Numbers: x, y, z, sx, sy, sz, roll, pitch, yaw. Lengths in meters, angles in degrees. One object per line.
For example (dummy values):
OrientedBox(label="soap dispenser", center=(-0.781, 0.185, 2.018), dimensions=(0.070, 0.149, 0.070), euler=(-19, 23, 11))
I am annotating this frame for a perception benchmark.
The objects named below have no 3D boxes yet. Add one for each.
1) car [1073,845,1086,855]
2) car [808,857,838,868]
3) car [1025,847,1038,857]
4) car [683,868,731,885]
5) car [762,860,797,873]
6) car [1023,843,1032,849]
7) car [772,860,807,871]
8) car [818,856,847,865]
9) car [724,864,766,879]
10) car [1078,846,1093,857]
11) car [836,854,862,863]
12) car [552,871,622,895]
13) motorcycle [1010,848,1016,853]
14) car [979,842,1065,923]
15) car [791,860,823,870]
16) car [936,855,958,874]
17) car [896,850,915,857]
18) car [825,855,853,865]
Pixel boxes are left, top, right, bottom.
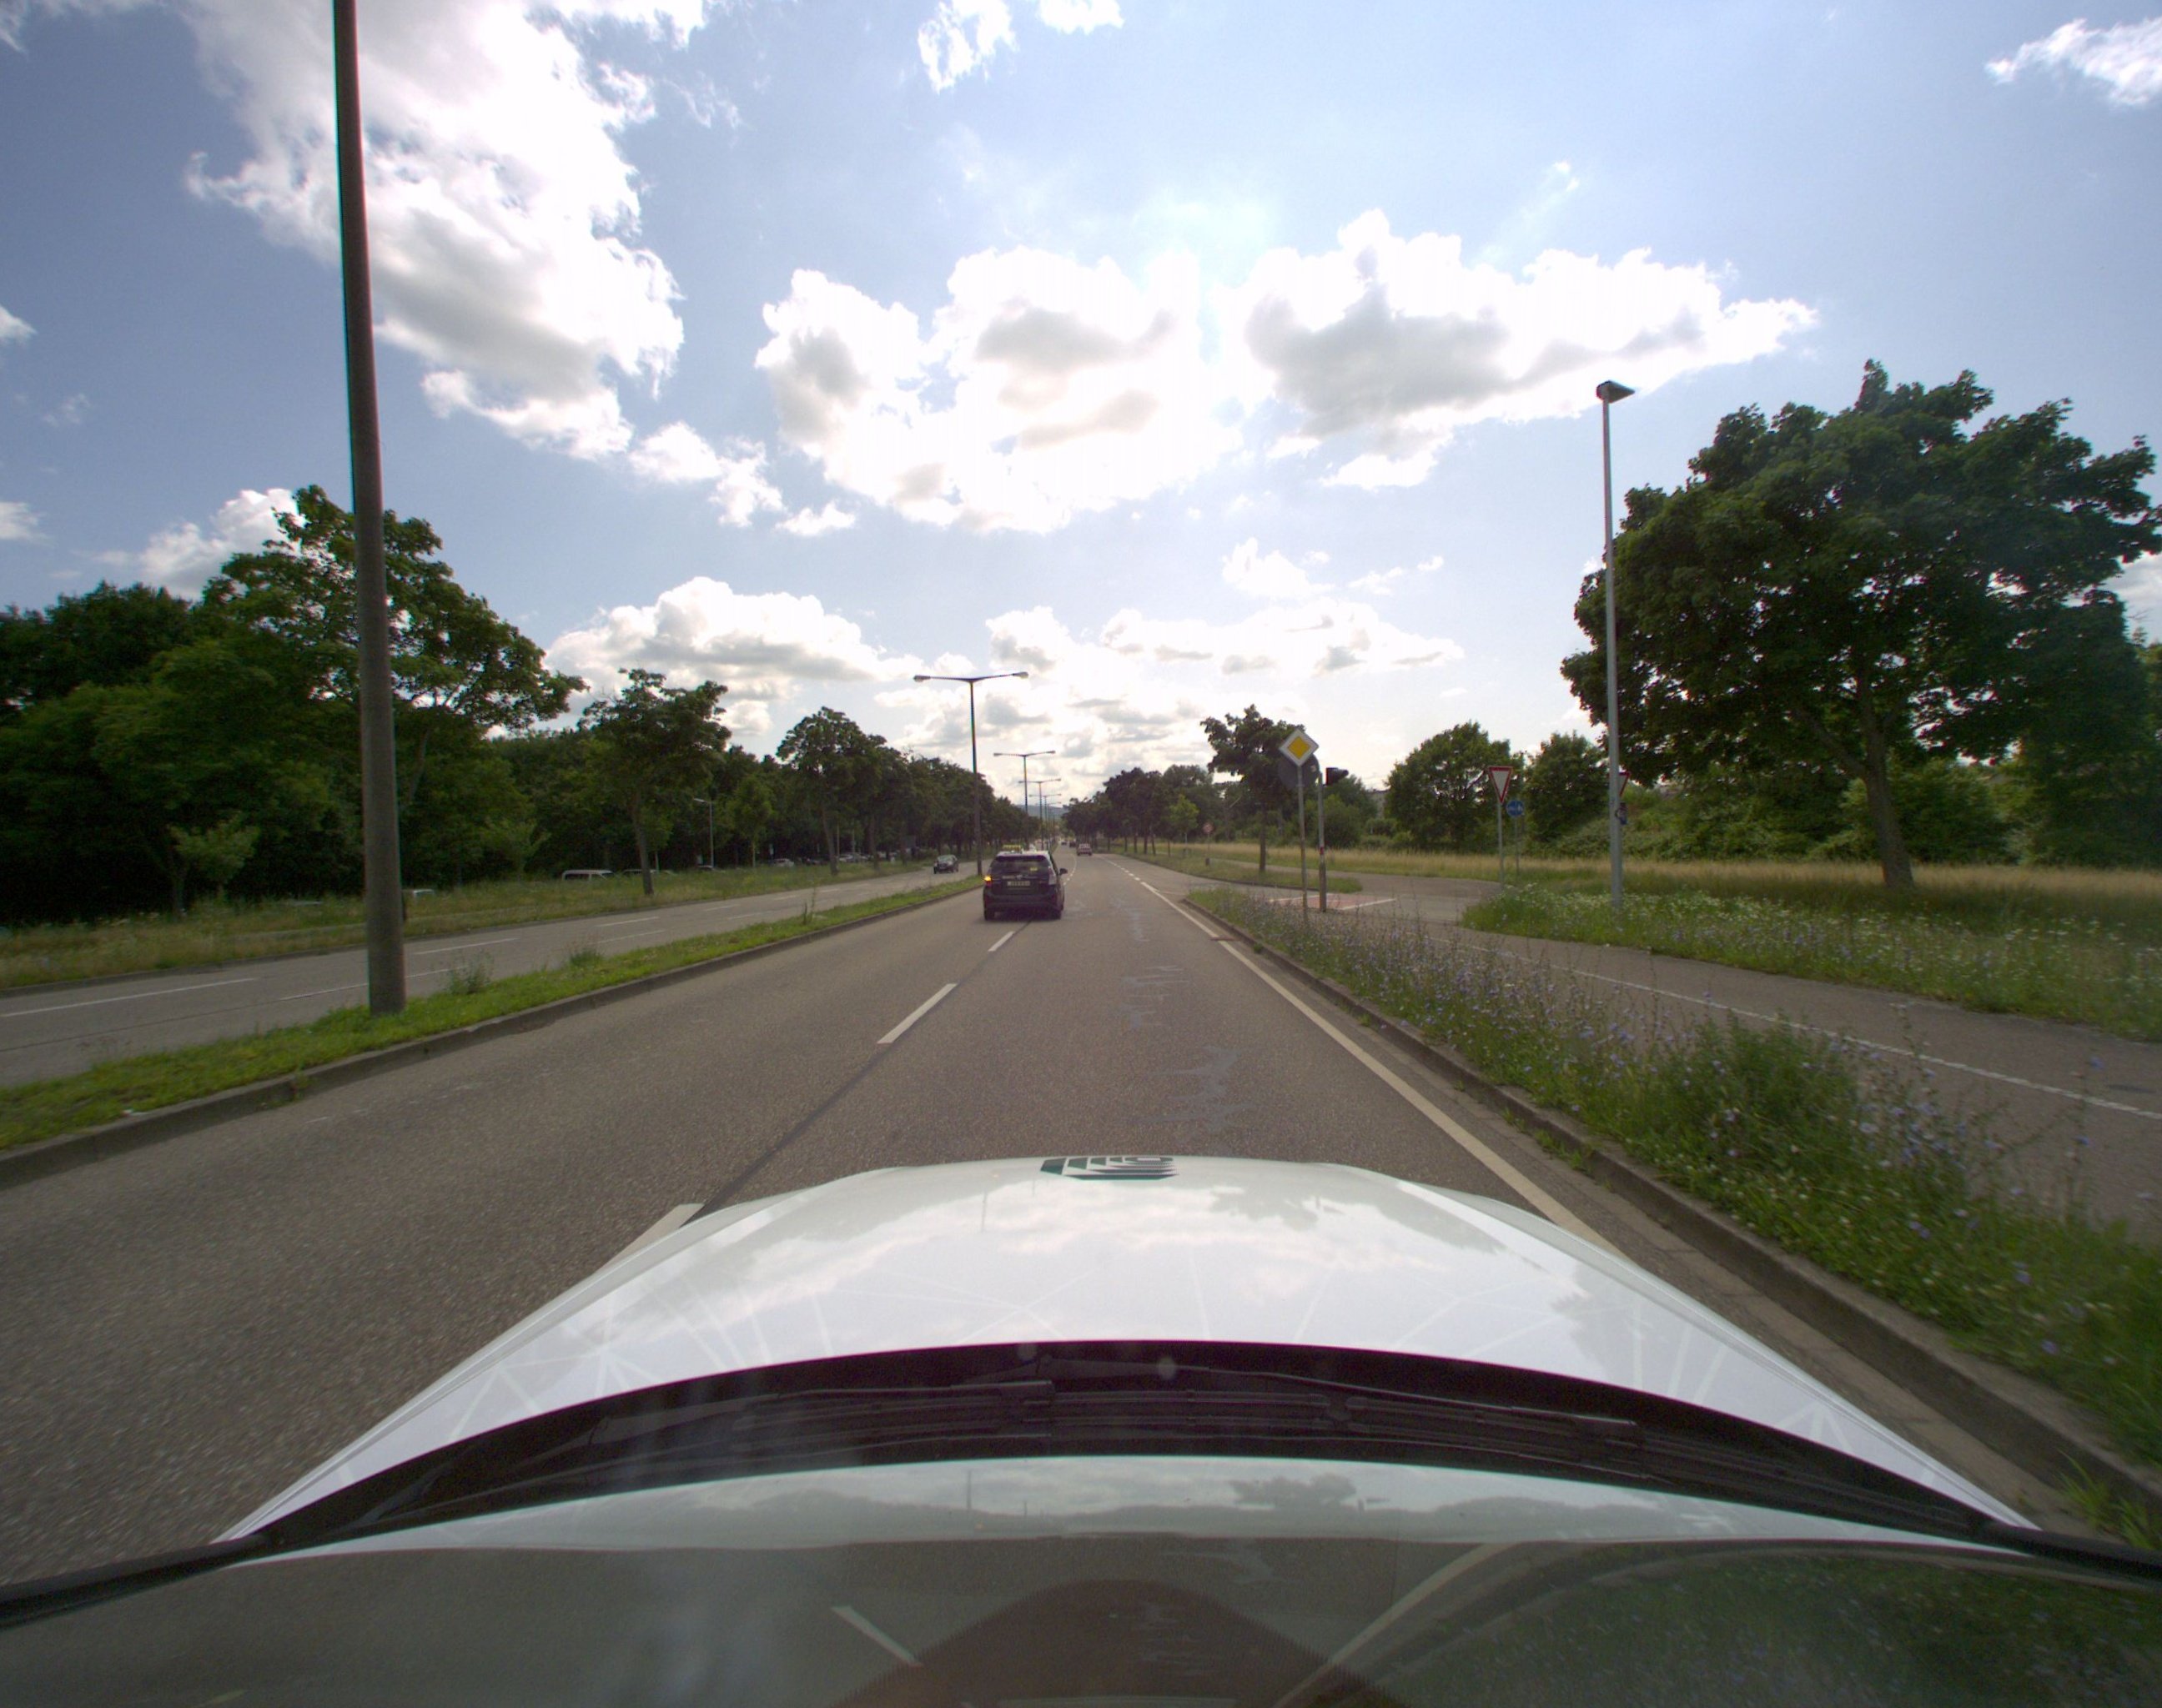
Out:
OrientedBox(label="car", center=(-0.226, -0.657, 133.064), dimensions=(1.987, 1.661, 4.001), euler=(-1, 1, 0))
OrientedBox(label="car", center=(-38.291, 1.220, 120.737), dimensions=(3.769, 1.568, 1.787), euler=(-1, 1, 3))
OrientedBox(label="car", center=(-8.147, -0.380, 133.118), dimensions=(1.805, 1.398, 4.733), euler=(-2, 1, 0))
OrientedBox(label="car", center=(-36.290, 2.151, 79.019), dimensions=(3.771, 1.508, 1.786), euler=(-1, 1, 1))
OrientedBox(label="car", center=(-38.067, 1.573, 102.889), dimensions=(3.774, 1.428, 1.785), euler=(-1, 1, -1))
OrientedBox(label="car", center=(-13.610, -1.943, 206.365), dimensions=(1.871, 1.508, 3.801), euler=(-1, 1, 3))
OrientedBox(label="car", center=(-37.911, 1.514, 105.940), dimensions=(3.774, 1.386, 1.785), euler=(-1, 1, -1))
OrientedBox(label="car", center=(-38.542, 0.985, 126.324), dimensions=(3.769, 1.387, 1.787), euler=(-1, 1, 3))
OrientedBox(label="car", center=(-35.969, 1.873, 87.229), dimensions=(3.771, 1.508, 1.786), euler=(-1, 1, 1))
OrientedBox(label="car", center=(0.651, -0.362, 117.901), dimensions=(1.988, 1.508, 3.997), euler=(-1, 1, -2))
OrientedBox(label="car", center=(-38.825, 0.790, 136.105), dimensions=(3.769, 1.387, 1.787), euler=(-1, 1, 3))
OrientedBox(label="car", center=(-36.870, 2.150, 60.856), dimensions=(3.977, 1.625, 1.998), euler=(-1, 1, -3))
OrientedBox(label="motorcycle", center=(-11.368, -0.570, 136.390), dimensions=(0.749, 0.772, 2.671), euler=(-1, 1, 0))
OrientedBox(label="car", center=(-1.314, 0.590, 19.670), dimensions=(1.774, 1.683, 4.000), euler=(-1, 1, 0))
OrientedBox(label="car", center=(-38.097, 1.557, 113.182), dimensions=(3.774, 1.247, 1.785), euler=(-1, 1, -1))
OrientedBox(label="car", center=(-10.860, 0.833, 66.213), dimensions=(1.700, 1.427, 3.664), euler=(-2, 0, -9))
OrientedBox(label="car", center=(-39.335, -0.160, 182.270), dimensions=(3.769, 1.387, 1.787), euler=(-1, 1, 3))
OrientedBox(label="car", center=(-38.458, 0.943, 129.513), dimensions=(3.769, 1.387, 1.787), euler=(-1, 1, 3))
